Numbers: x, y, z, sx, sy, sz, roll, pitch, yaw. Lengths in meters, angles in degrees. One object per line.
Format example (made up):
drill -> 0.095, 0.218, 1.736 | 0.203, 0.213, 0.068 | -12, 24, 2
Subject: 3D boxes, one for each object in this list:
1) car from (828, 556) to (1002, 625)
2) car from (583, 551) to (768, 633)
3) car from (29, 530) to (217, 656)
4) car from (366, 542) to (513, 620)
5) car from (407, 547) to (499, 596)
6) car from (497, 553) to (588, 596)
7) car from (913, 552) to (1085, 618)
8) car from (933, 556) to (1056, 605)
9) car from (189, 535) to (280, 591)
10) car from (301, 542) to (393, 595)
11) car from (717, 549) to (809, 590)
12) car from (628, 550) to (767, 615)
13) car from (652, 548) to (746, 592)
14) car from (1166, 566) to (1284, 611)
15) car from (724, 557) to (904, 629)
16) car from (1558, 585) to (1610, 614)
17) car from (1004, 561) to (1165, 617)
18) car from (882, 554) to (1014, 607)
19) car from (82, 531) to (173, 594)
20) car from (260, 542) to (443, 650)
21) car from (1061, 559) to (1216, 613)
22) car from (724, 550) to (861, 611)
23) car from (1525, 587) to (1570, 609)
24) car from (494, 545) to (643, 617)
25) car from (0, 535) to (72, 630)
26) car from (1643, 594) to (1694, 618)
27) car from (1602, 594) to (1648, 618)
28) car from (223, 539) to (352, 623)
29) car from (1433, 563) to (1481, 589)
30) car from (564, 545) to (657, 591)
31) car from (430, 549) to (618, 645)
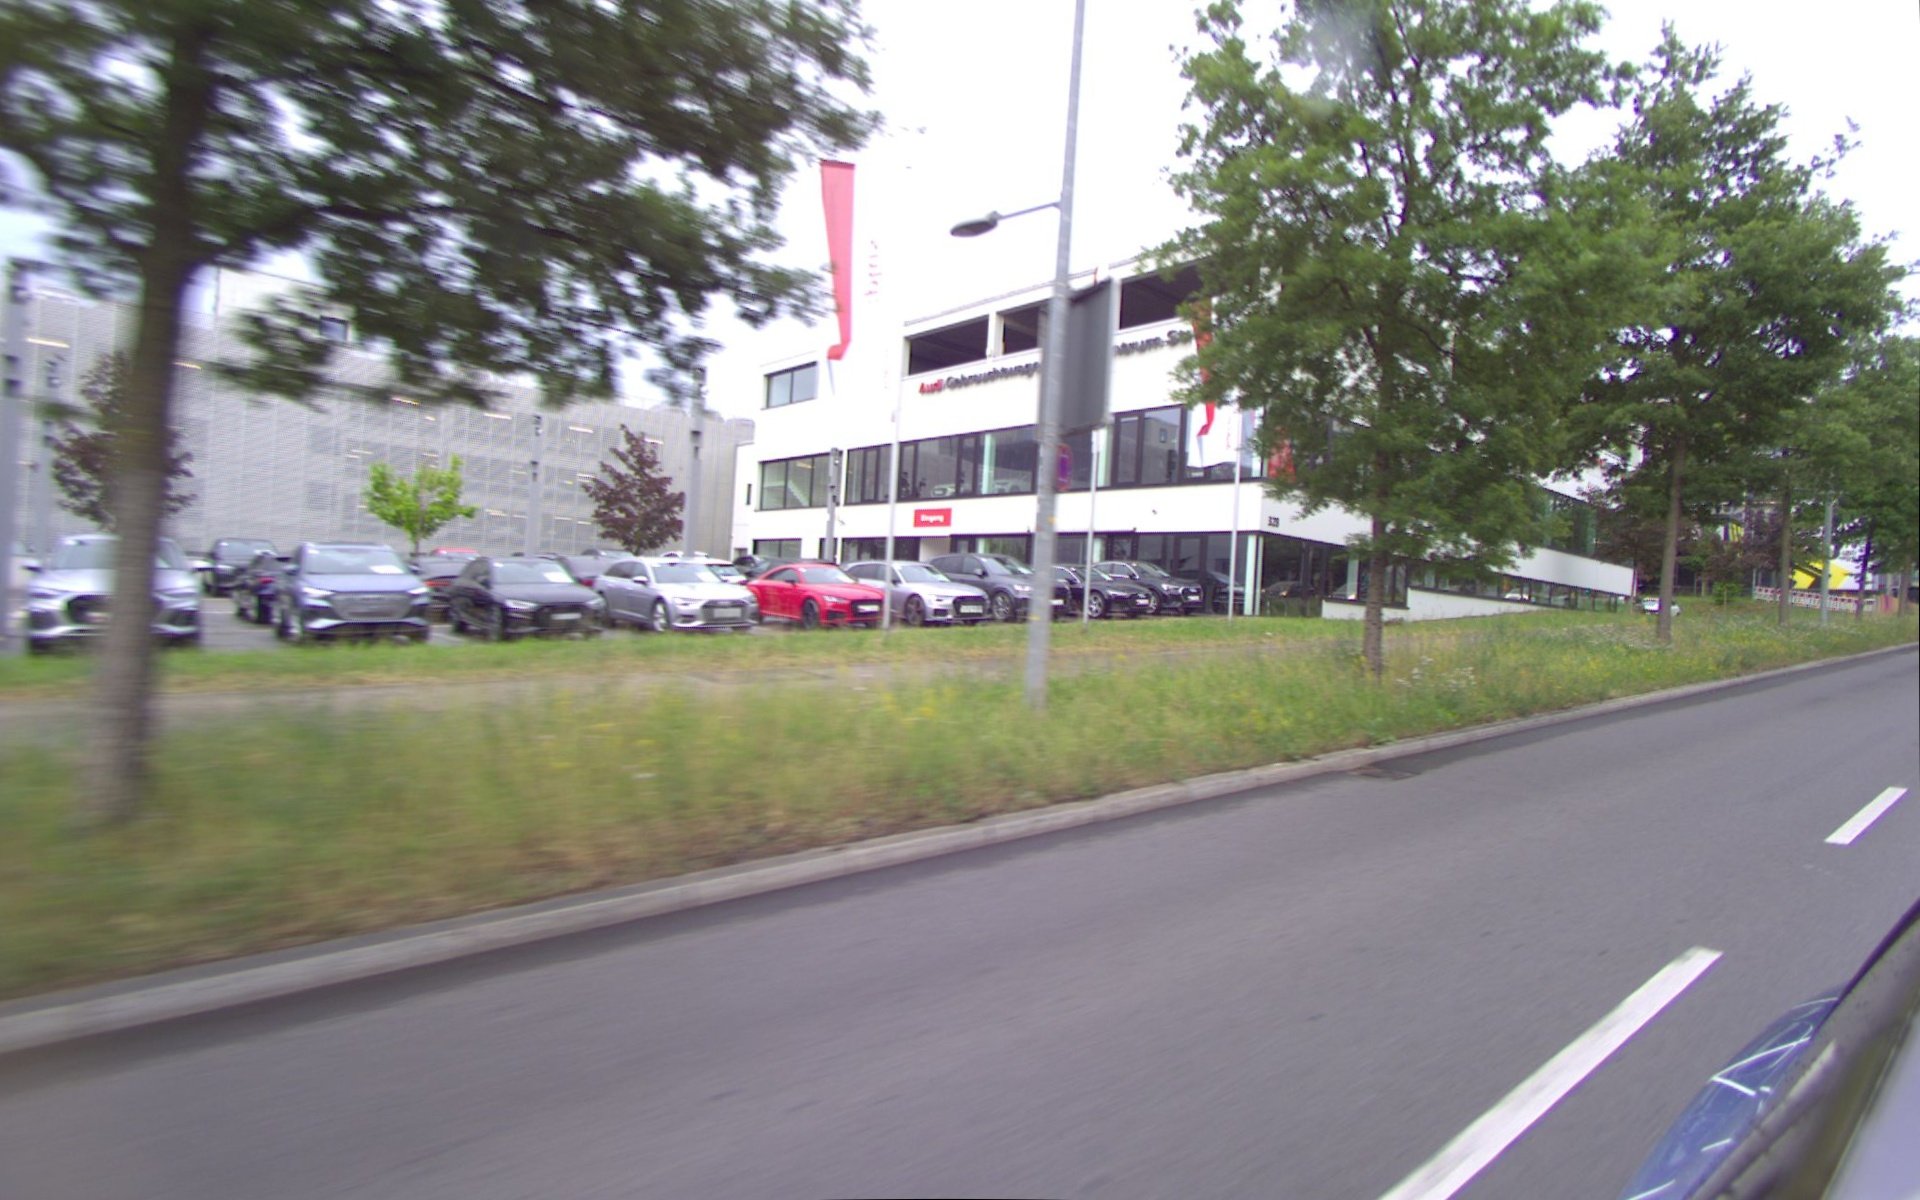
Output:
car -> -1.173, -0.281, 24.095 | 1.857, 1.445, 4.407 | 0, 3, -40
car -> -5.849, -0.216, 20.442 | 1.897, 1.474, 4.470 | 0, 2, -41
car -> -12.360, -0.198, 14.962 | 1.897, 1.570, 4.470 | 0, 3, -41
car -> -11.804, -0.466, 22.807 | 1.898, 1.570, 4.468 | -1, 2, -42
car -> -17.659, -0.998, 35.126 | 1.796, 1.613, 4.283 | -1, 2, -42
car -> -15.537, -0.970, 37.545 | 1.796, 1.486, 4.283 | -1, 2, -42
car -> 0.912, -0.434, 26.099 | 2.004, 1.519, 4.407 | 0, 3, -40
car -> 1.136, -0.710, 35.000 | 1.796, 1.570, 4.283 | -1, 2, -42
car -> -22.232, -1.129, 30.959 | 1.796, 1.613, 4.283 | -1, 2, -42
car -> -19.997, -1.031, 32.917 | 1.796, 1.613, 4.283 | -1, 2, -42
car -> -8.219, -1.279, 41.978 | 1.796, 1.613, 4.283 | -1, 2, -42
car -> -7.003, -0.495, 26.770 | 1.796, 1.570, 4.283 | -1, 2, -42
car -> -10.276, -1.177, 39.667 | 1.796, 1.613, 4.283 | -1, 2, -42
car -> 8.706, -0.399, 33.132 | 3.854, 1.355, 1.901 | -1, 2, -41
car -> -3.349, -0.223, 22.567 | 1.897, 1.364, 4.407 | -1, 4, -41
car -> 38.794, -0.040, 62.884 | 3.579, 1.696, 1.701 | -1, 4, -41
car -> 3.381, -0.351, 28.125 | 1.806, 1.395, 4.326 | -1, 3, -42
car -> -0.432, -0.645, 31.943 | 1.796, 1.570, 4.283 | -1, 2, -42
car -> -23.349, -1.040, 28.332 | 1.796, 1.613, 4.283 | -1, 2, -42
car -> -10.235, -0.161, 16.856 | 1.897, 1.547, 4.470 | 0, 3, -41
car -> 5.281, -0.468, 30.380 | 1.897, 1.500, 4.406 | 0, 2, -41
car -> -4.782, -0.581, 28.552 | 1.796, 1.570, 4.283 | -1, 2, -42
car -> 41.467, -0.157, 71.361 | 3.579, 1.503, 1.700 | -1, 0, -41
car -> -9.537, -0.491, 24.441 | 1.898, 1.570, 4.468 | -1, 2, -42
car -> -17.396, -0.388, 18.211 | 1.900, 1.570, 4.465 | -1, 3, -44
car -> 45.695, 0.374, 65.254 | 4.384, 1.503, 1.700 | -1, 0, -41
car -> 44.482, 0.384, 67.650 | 3.579, 1.503, 1.700 | -1, 0, -41
car -> -14.194, -0.431, 21.255 | 1.795, 1.570, 4.285 | 0, 2, -40
car -> 33.823, -1.590, 68.844 | 3.579, 1.697, 1.700 | -1, 0, -41
car -> -13.243, -1.221, 38.245 | 1.796, 1.613, 4.283 | -1, 2, -42
car -> -8.005, -0.142, 18.355 | 1.897, 1.473, 4.471 | 0, 3, -41
